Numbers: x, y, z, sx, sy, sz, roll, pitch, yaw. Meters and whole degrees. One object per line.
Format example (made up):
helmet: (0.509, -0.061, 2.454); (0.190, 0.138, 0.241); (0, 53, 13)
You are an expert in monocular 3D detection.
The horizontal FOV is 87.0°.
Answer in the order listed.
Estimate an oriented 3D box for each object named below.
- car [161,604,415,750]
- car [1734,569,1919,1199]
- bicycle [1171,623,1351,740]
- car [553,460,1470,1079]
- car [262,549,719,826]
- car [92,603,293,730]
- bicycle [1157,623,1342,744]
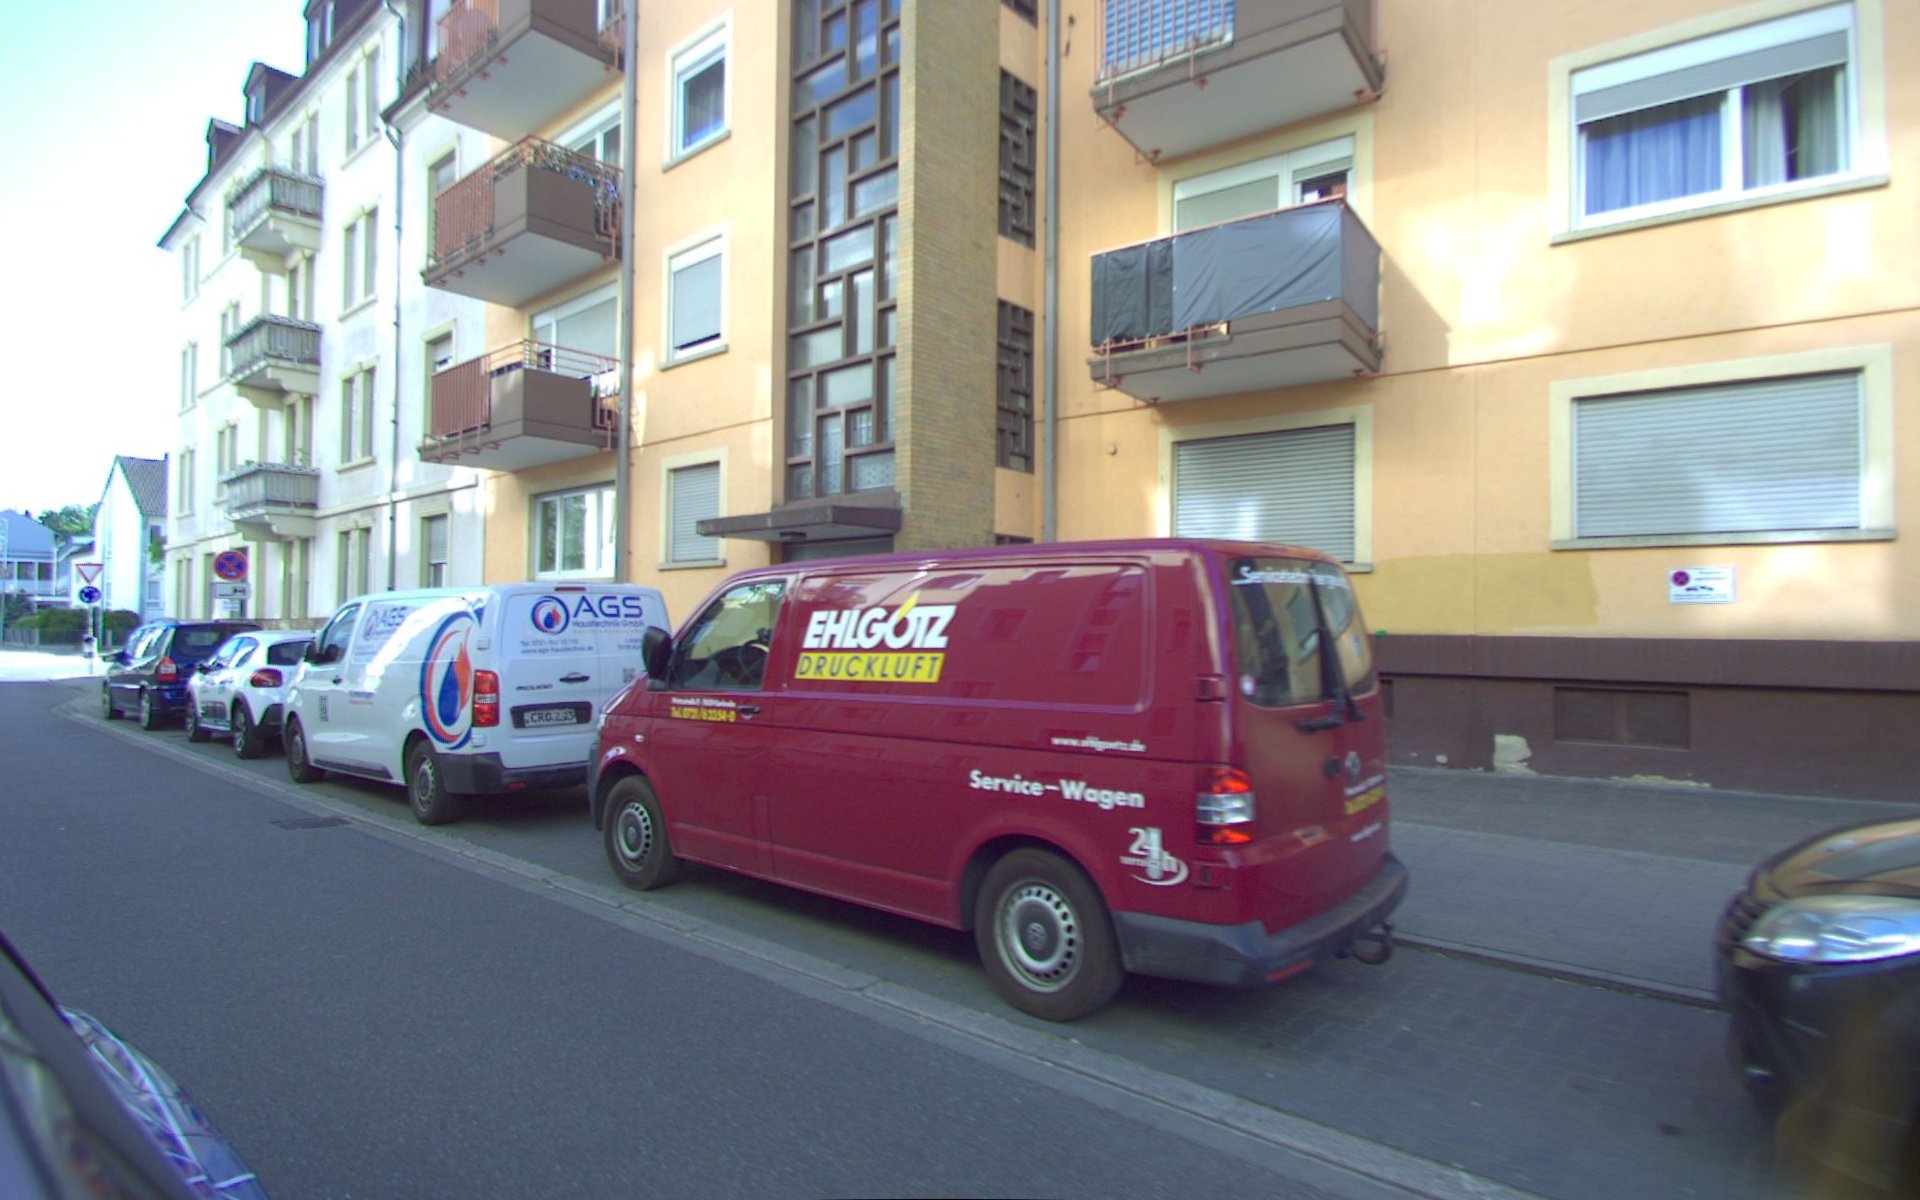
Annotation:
car: (-9.008, 0.899, 13.421); (4.292, 1.633, 1.744); (-1, -1, 41)
car: (3.982, 0.682, 1.851); (3.997, 1.514, 1.745); (-1, -2, 40)
bicycle: (3.065, 0.800, 10.413); (1.759, 1.122, 0.338); (-1, -2, 36)
car: (-0.164, 0.573, 5.467); (4.932, 1.940, 1.744); (-1, -1, 41)
car: (-4.679, 0.660, 9.589); (5.306, 1.940, 1.955); (-1, -1, 41)
car: (-12.401, 0.969, 16.262); (4.292, 1.784, 1.744); (-1, -1, 41)
bicycle: (2.853, 0.798, 10.093); (1.759, 1.122, 0.338); (-1, -2, 36)
